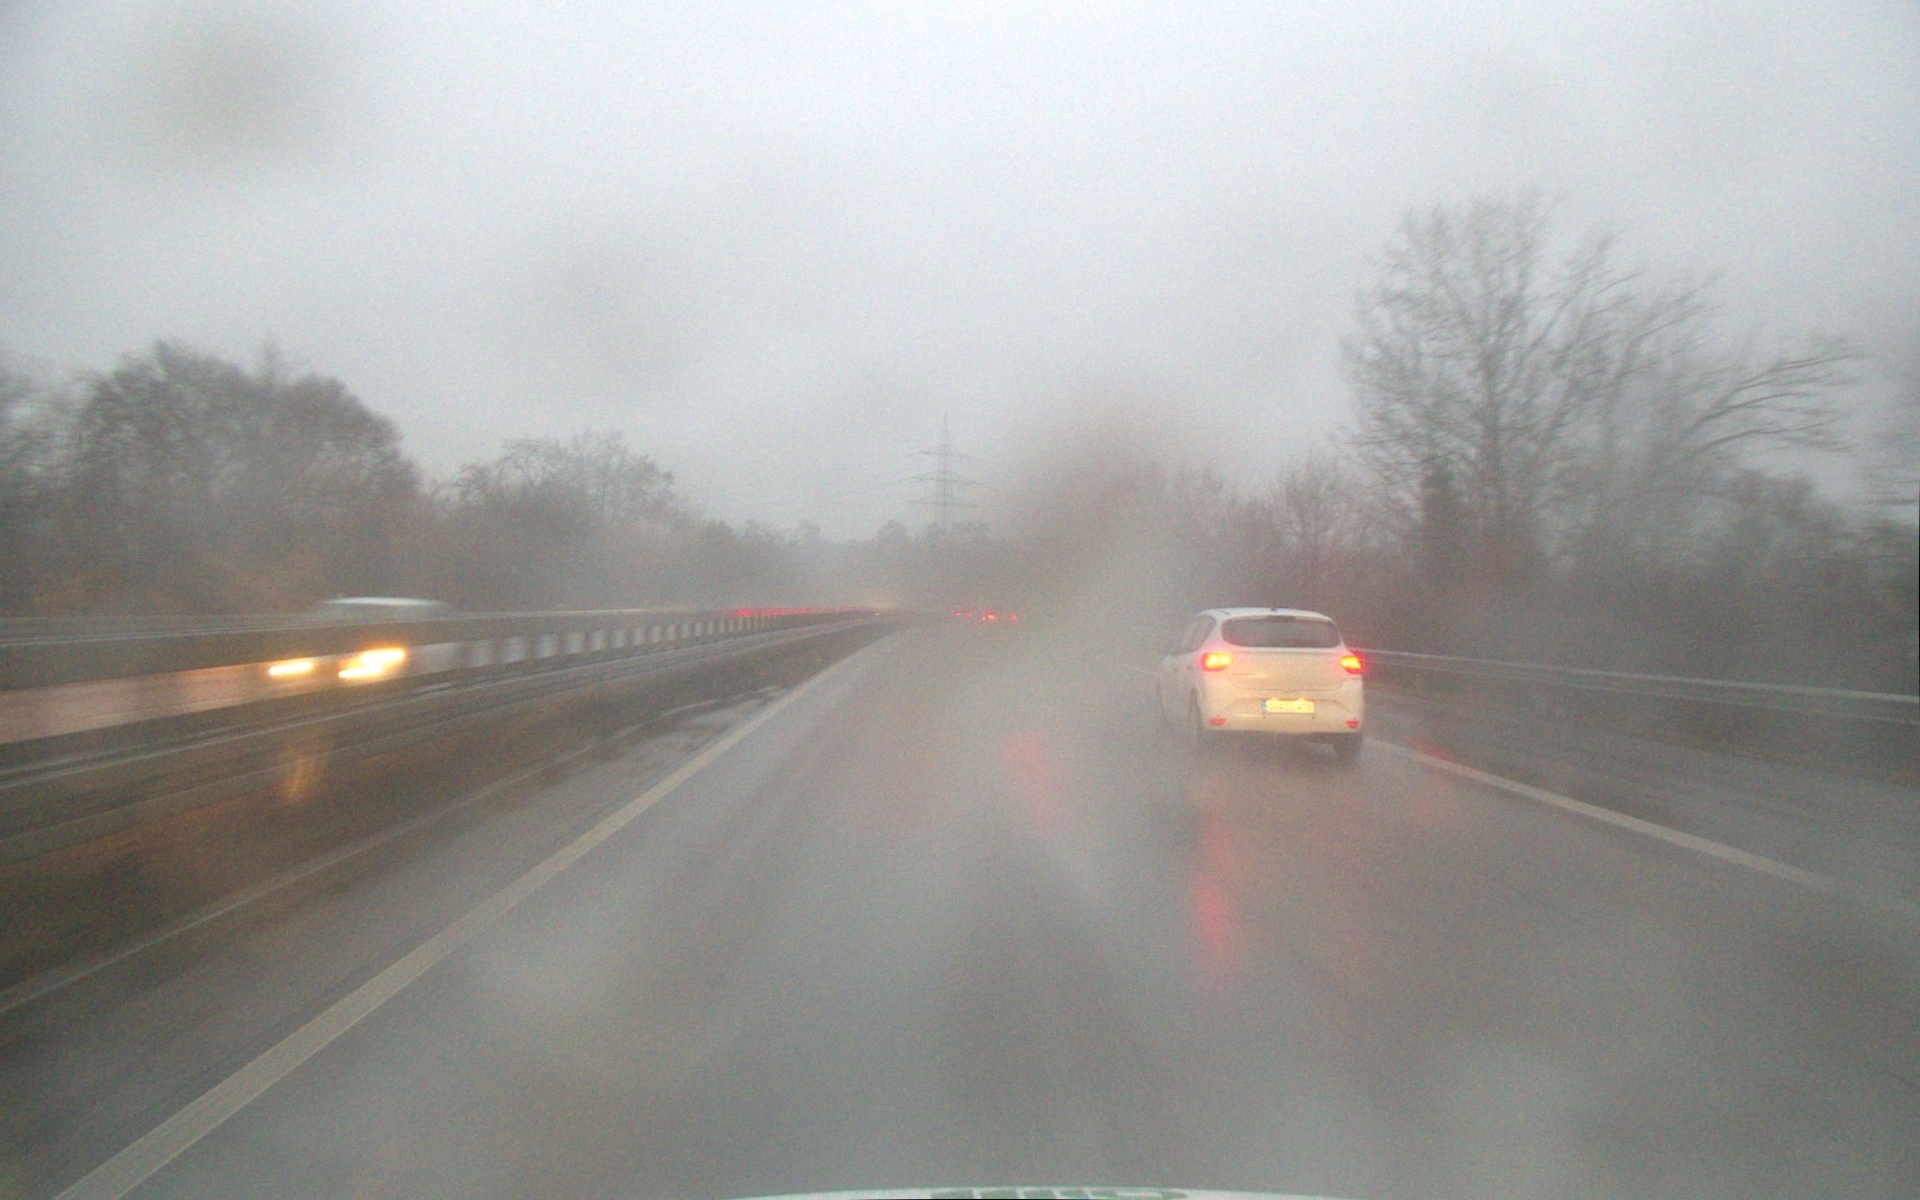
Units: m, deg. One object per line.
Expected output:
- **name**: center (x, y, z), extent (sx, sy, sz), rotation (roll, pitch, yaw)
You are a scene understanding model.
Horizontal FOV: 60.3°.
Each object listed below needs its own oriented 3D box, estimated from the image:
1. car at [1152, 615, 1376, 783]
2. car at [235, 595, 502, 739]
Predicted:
- **car**: center (3.302, 1.031, 18.645), extent (1.808, 1.664, 3.767), rotation (-1, -1, 0)
- **car**: center (-8.226, 0.849, 23.557), extent (2.120, 1.823, 4.808), rotation (0, 0, -1)
